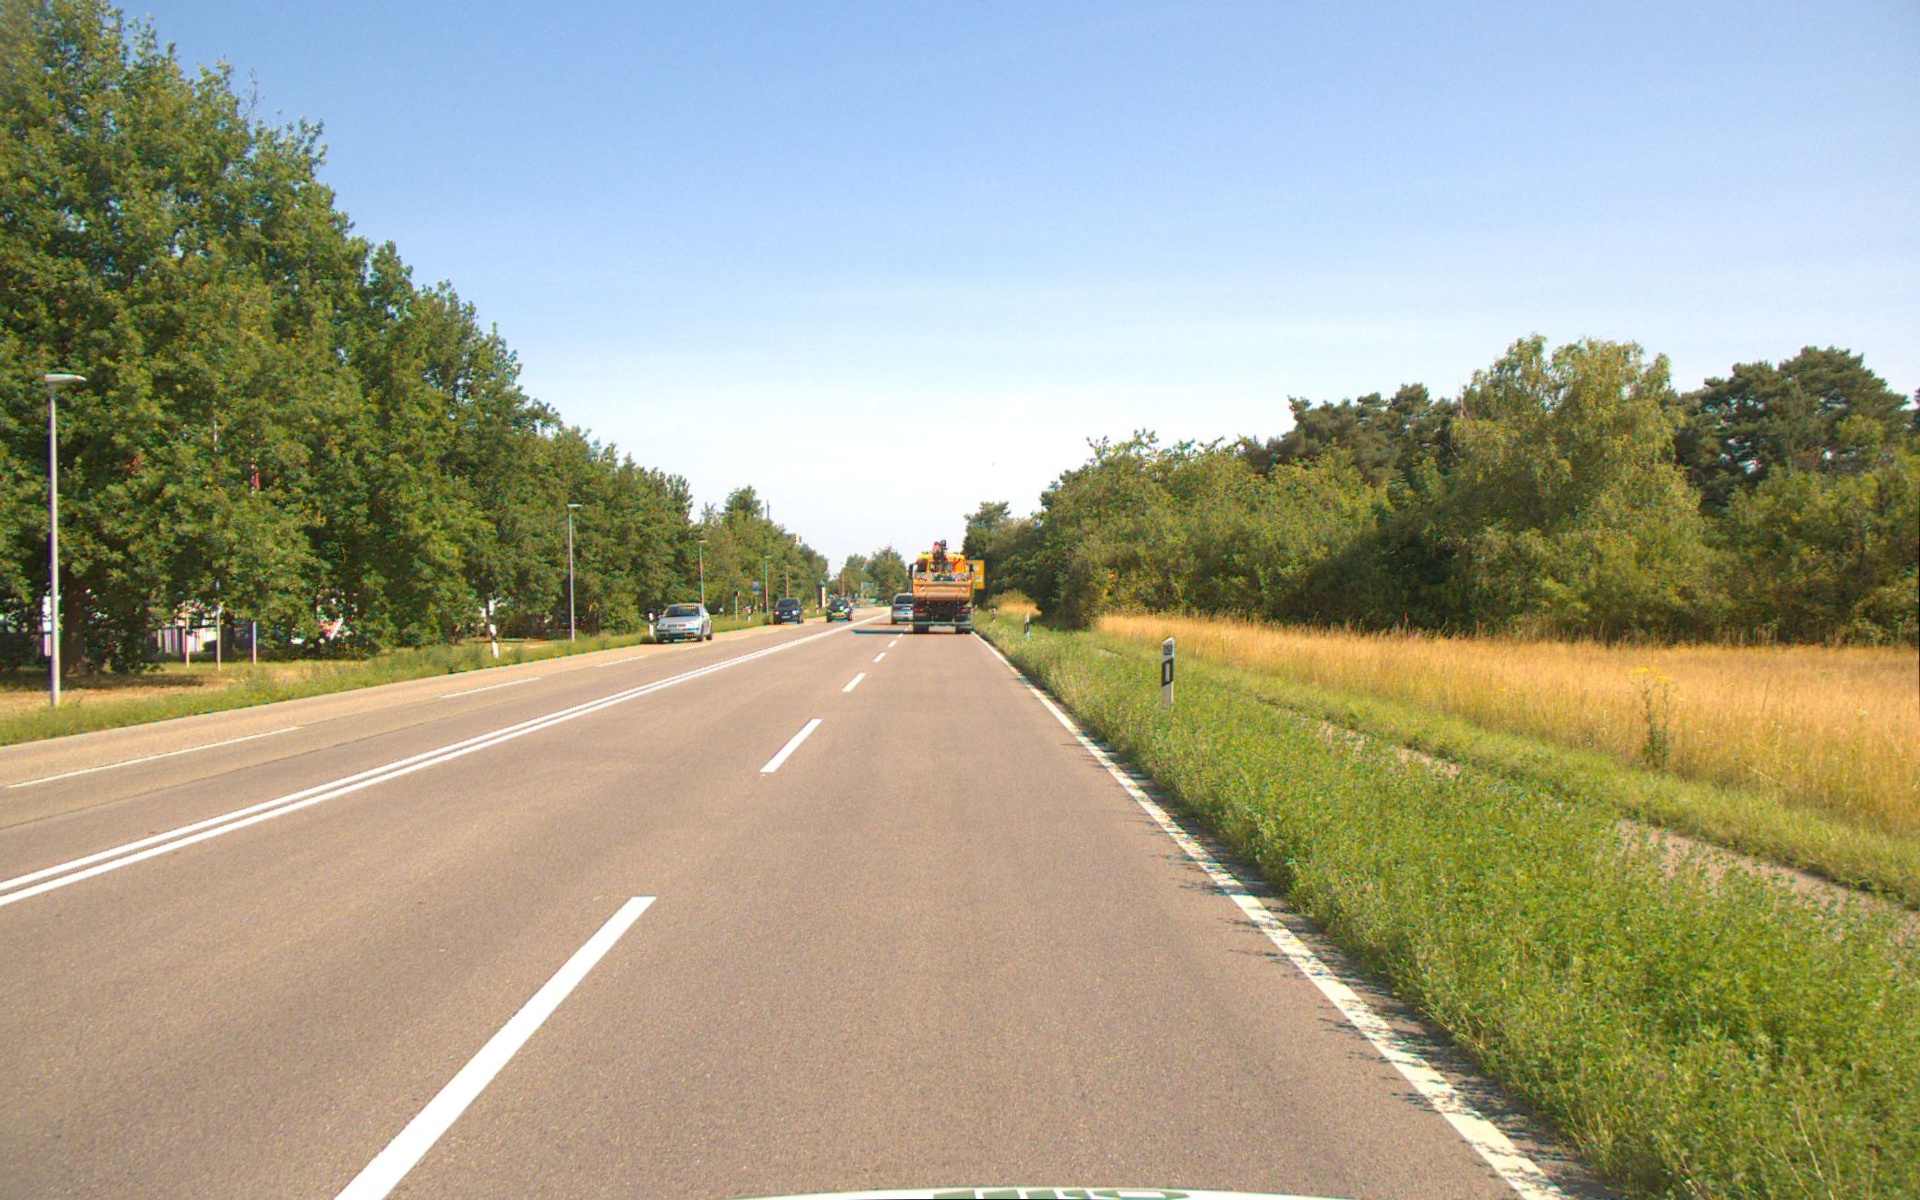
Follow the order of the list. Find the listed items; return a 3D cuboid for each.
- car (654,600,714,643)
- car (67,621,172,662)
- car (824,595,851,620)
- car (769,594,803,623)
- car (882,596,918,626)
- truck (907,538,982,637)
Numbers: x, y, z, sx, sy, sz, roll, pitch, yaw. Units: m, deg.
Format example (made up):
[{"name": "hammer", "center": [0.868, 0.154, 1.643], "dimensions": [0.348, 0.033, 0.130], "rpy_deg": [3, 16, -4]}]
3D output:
[{"name": "car", "center": [-10.305, 0.763, 61.996], "dimensions": [1.566, 1.467, 3.999], "rpy_deg": [-3, 0, -1]}, {"name": "car", "center": [-31.666, 1.525, 62.469], "dimensions": [1.752, 1.373, 4.660], "rpy_deg": [-2, 0, -3]}, {"name": "car", "center": [-7.998, 0.482, 108.220], "dimensions": [1.486, 1.475, 3.774], "rpy_deg": [-3, 0, -1]}, {"name": "car", "center": [-11.155, 0.526, 106.420], "dimensions": [1.789, 1.701, 4.388], "rpy_deg": [-3, 0, -2]}, {"name": "car", "center": [-3.361, 0.590, 92.025], "dimensions": [1.954, 1.611, 3.998], "rpy_deg": [-1, 0, -3]}, {"name": "truck", "center": [-0.740, -0.505, 70.457], "dimensions": [2.815, 3.948, 7.395], "rpy_deg": [1, 0, -3]}]
